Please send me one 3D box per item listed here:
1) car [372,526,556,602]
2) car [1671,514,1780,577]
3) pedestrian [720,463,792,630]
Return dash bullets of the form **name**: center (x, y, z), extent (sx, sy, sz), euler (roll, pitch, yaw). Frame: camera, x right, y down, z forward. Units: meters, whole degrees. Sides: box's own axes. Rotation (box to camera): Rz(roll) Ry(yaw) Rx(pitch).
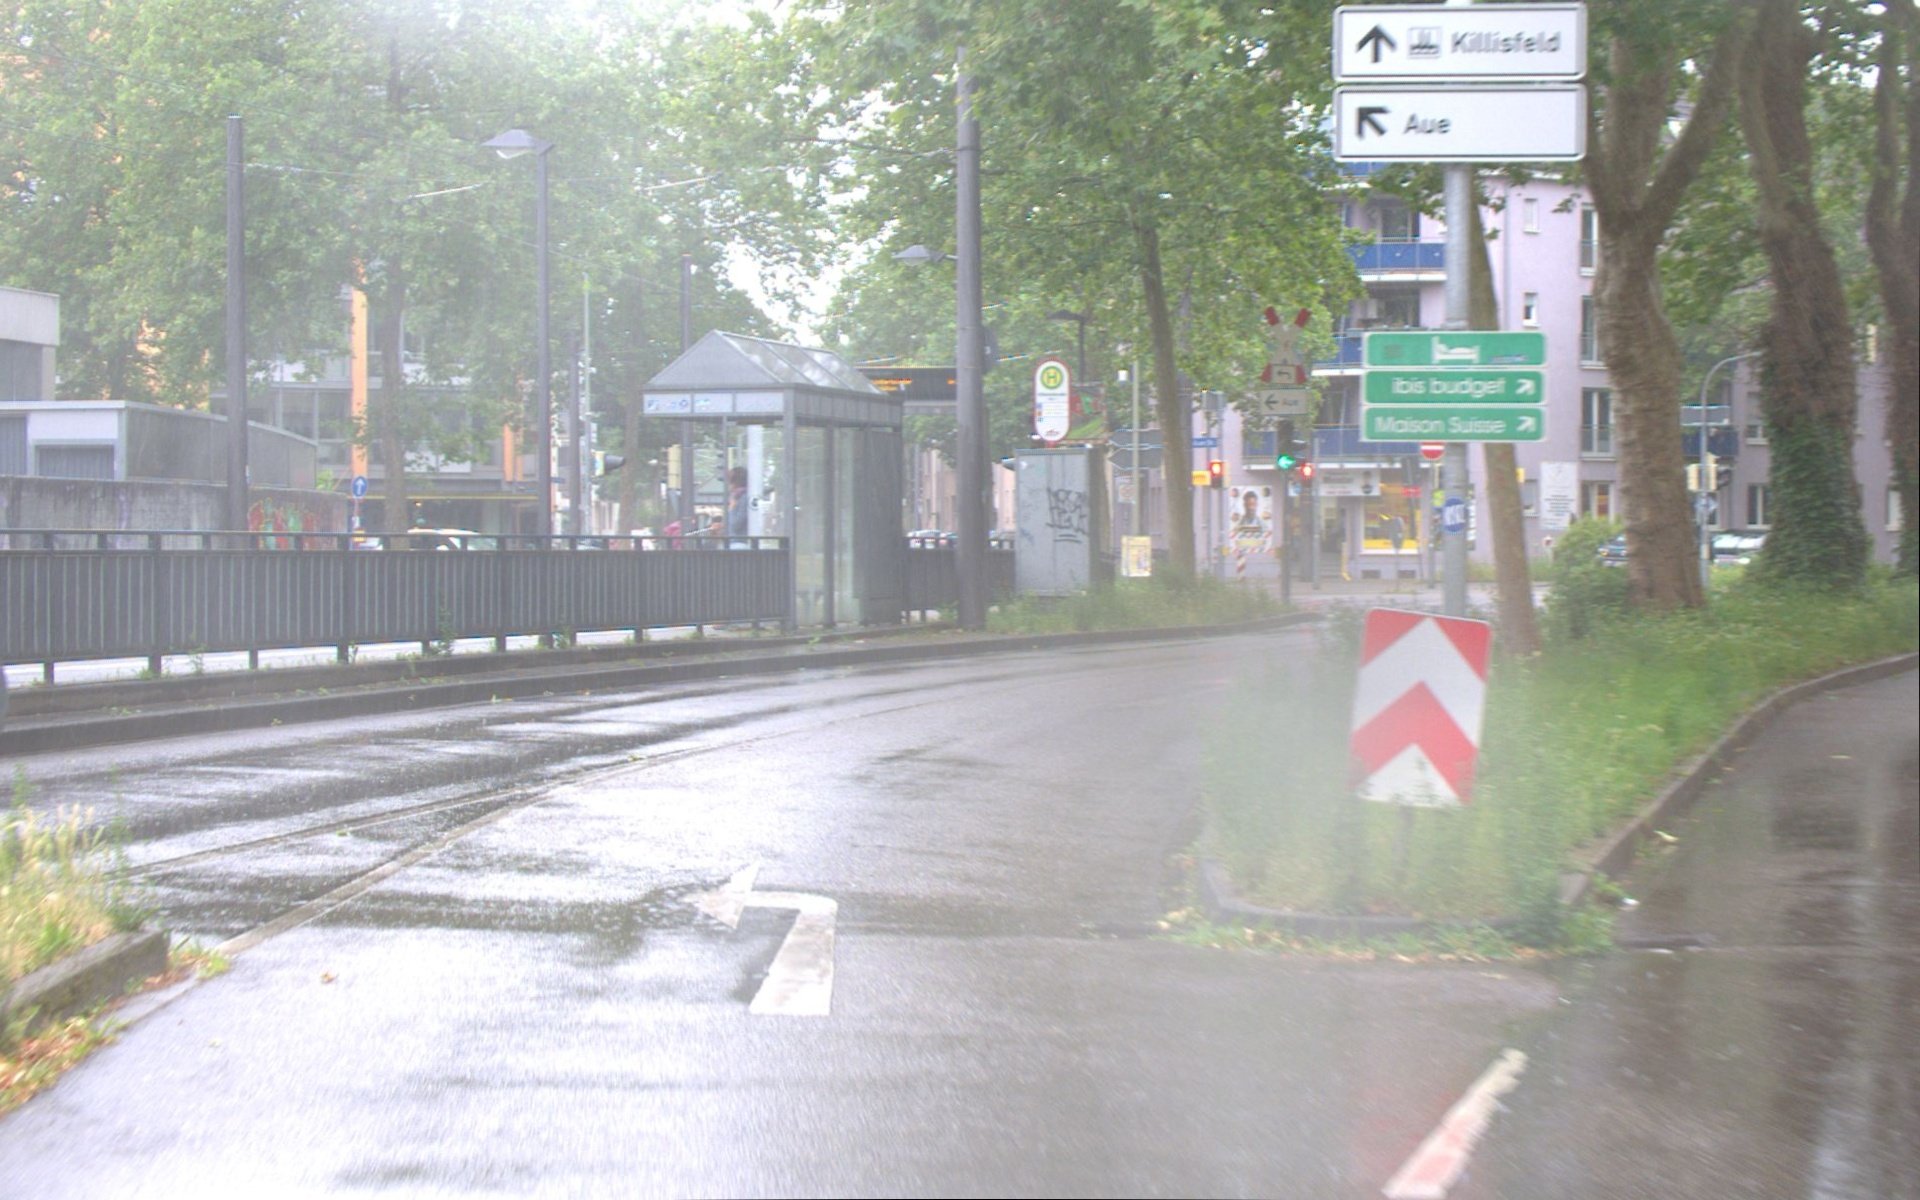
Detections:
- **car**: center (-11.592, -0.832, 80.293), extent (4.014, 1.646, 1.968), euler (-1, 1, 37)
- **car**: center (20.055, -1.433, 89.952), extent (1.728, 1.547, 3.554), euler (-1, 1, 31)
- **pedestrian**: center (-2.136, -0.557, 35.971), extent (0.581, 1.725, 0.568), euler (-2, 0, -17)
